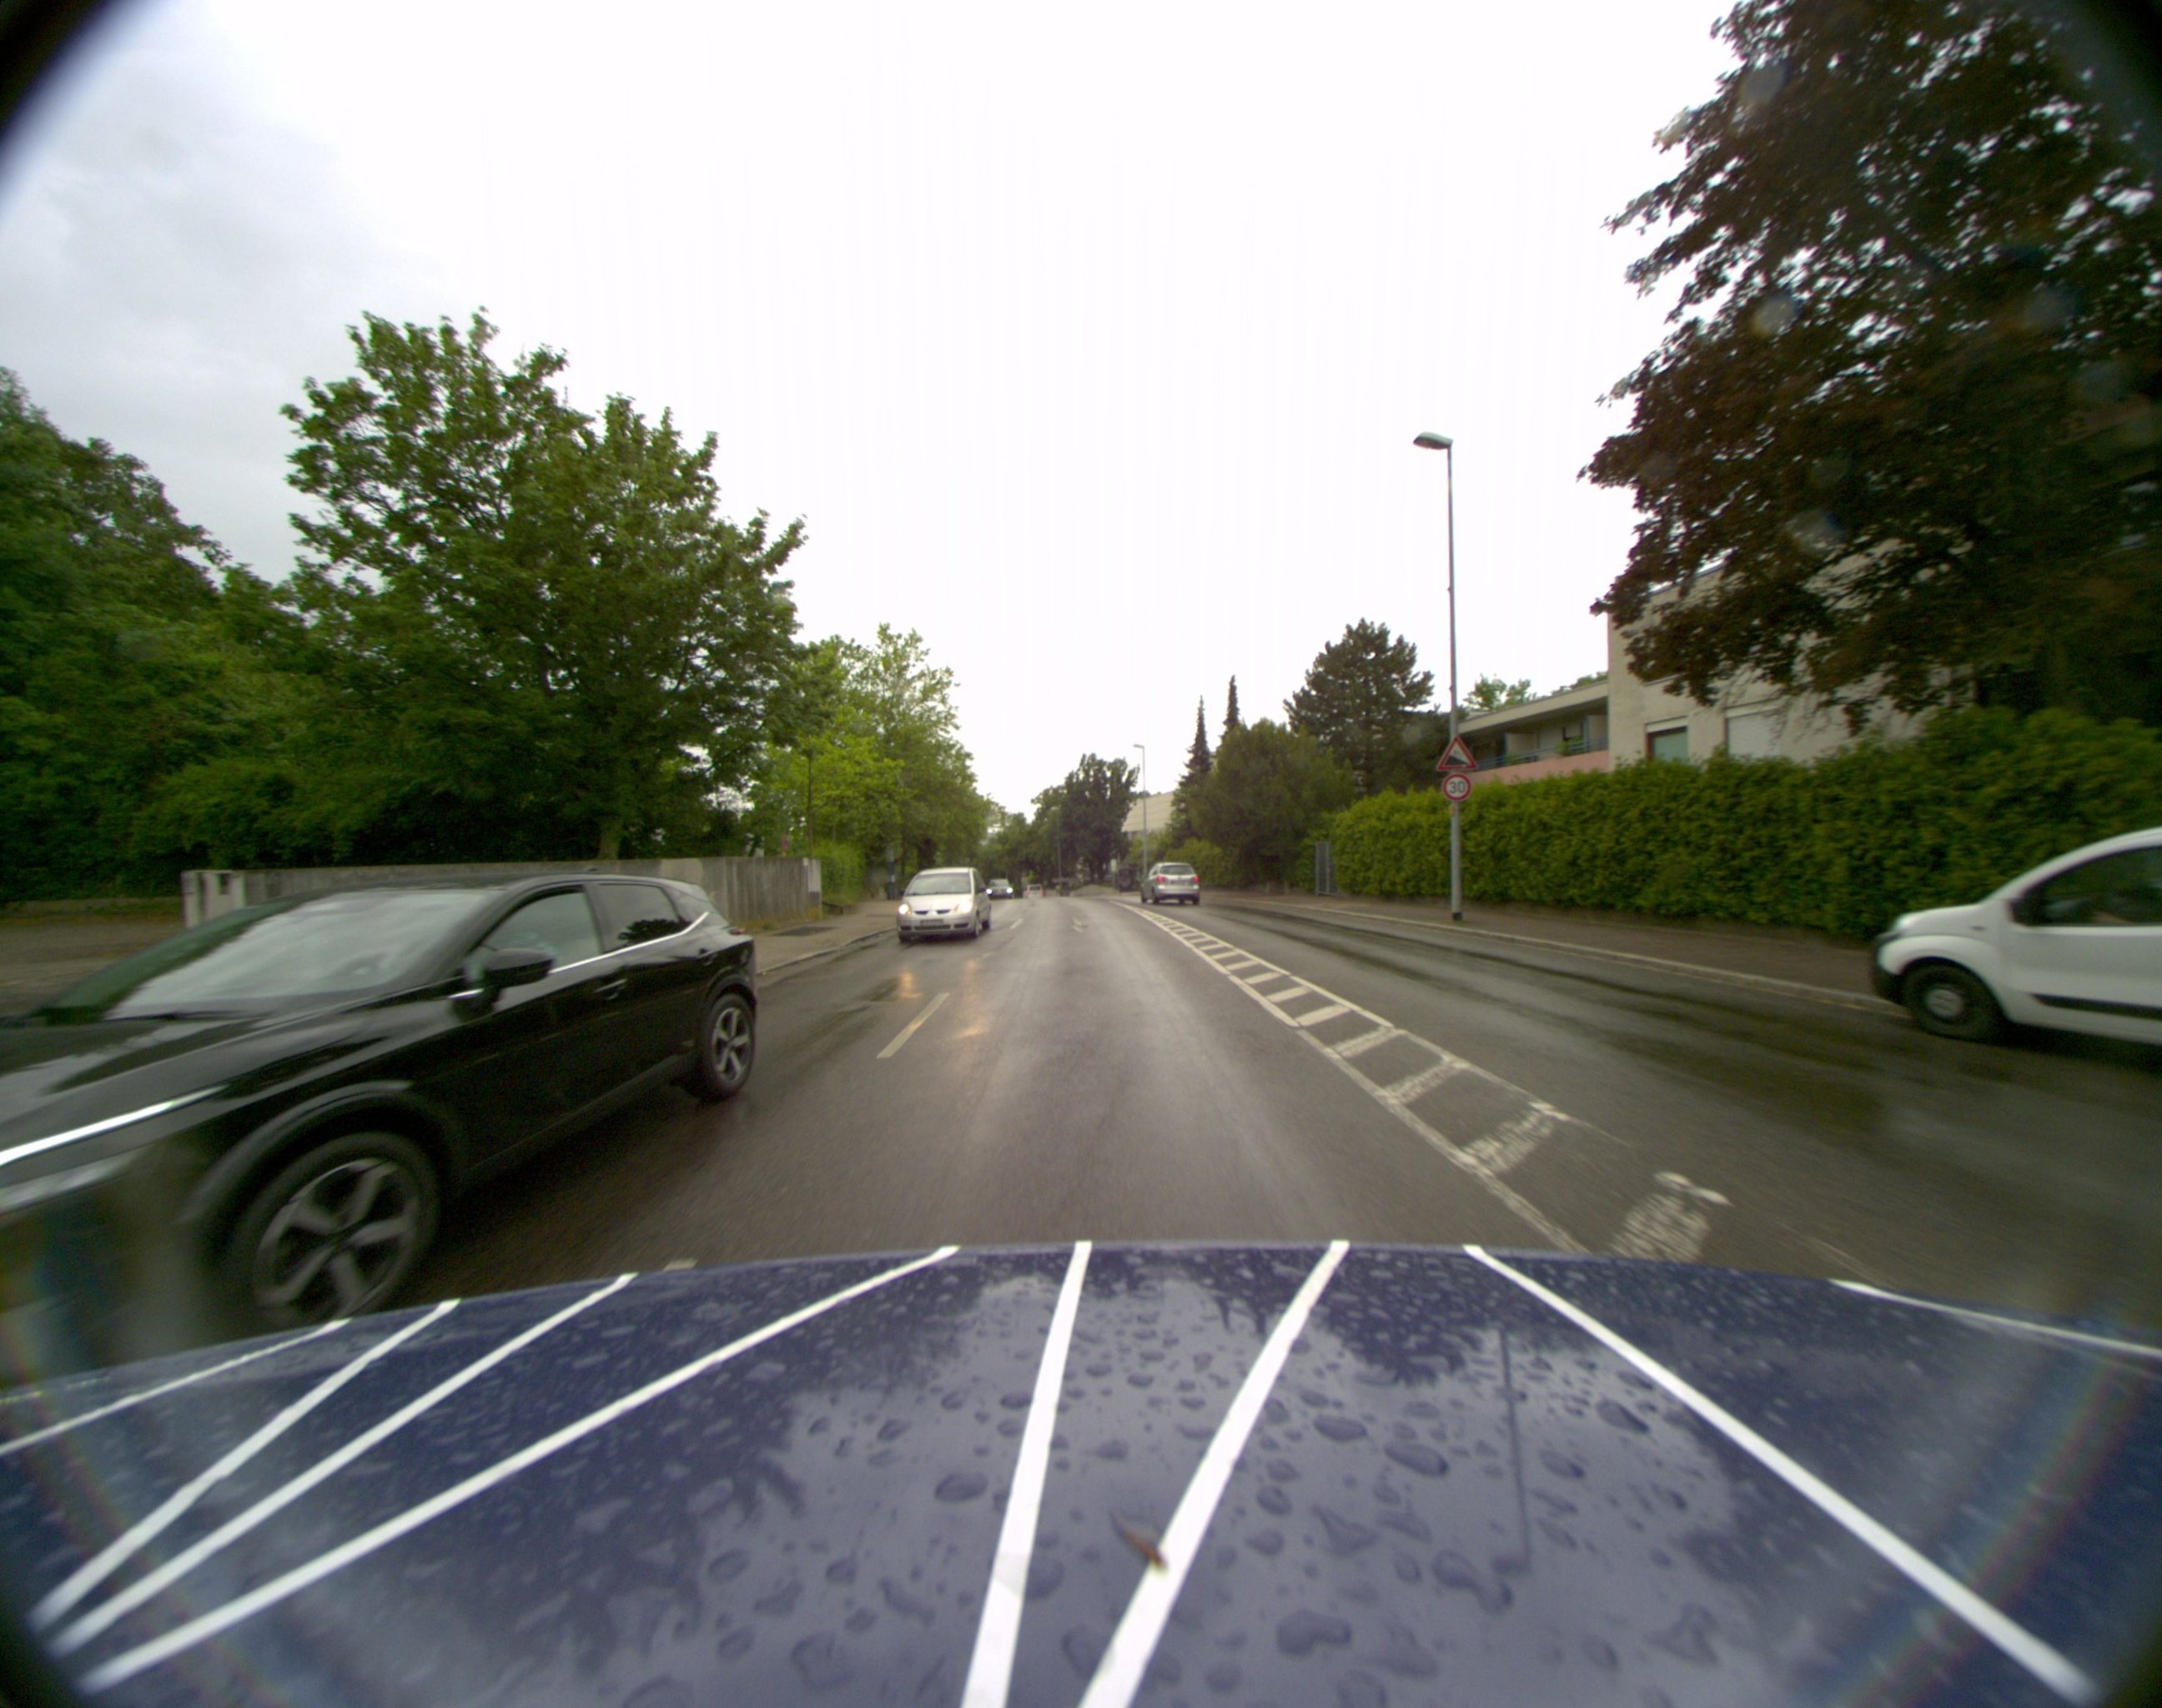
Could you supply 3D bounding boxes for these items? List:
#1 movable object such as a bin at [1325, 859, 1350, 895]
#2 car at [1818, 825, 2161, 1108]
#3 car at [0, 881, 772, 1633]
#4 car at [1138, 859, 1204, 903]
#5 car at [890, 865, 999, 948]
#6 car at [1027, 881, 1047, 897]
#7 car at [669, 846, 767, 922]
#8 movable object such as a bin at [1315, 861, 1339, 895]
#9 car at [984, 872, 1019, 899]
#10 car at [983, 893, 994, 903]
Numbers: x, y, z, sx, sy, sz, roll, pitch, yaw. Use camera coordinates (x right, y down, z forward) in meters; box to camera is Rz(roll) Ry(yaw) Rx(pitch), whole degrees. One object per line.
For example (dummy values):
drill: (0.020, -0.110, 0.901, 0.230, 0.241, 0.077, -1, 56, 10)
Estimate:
movable object such as a bin: (9.704, 0.863, 28.712, 0.549, 1.318, 0.806, -3, -1, -5)
car: (7.568, 0.682, 4.831, 1.705, 1.698, 3.978, -5, 0, -3)
car: (-3.325, 1.031, 3.543, 1.794, 1.594, 4.254, -2, 0, 3)
car: (3.415, 1.002, 29.632, 1.640, 1.570, 4.055, 1, -1, -6)
car: (-2.984, 1.099, 17.384, 1.640, 1.496, 4.000, -3, 1, 1)
car: (-5.436, 4.266, 93.254, 1.870, 1.904, 5.026, 1, -2, -11)
car: (-11.887, 1.053, 25.170, 2.001, 2.212, 4.132, -2, -4, -13)
movable object such as a bin: (9.592, 0.938, 29.631, 0.549, 1.318, 0.806, -3, -1, -5)
car: (-5.623, 2.269, 54.087, 2.036, 1.690, 4.002, -4, -4, -2)
car: (-15.538, 7.392, 127.627, 1.691, 1.444, 3.397, -2, -3, -10)
